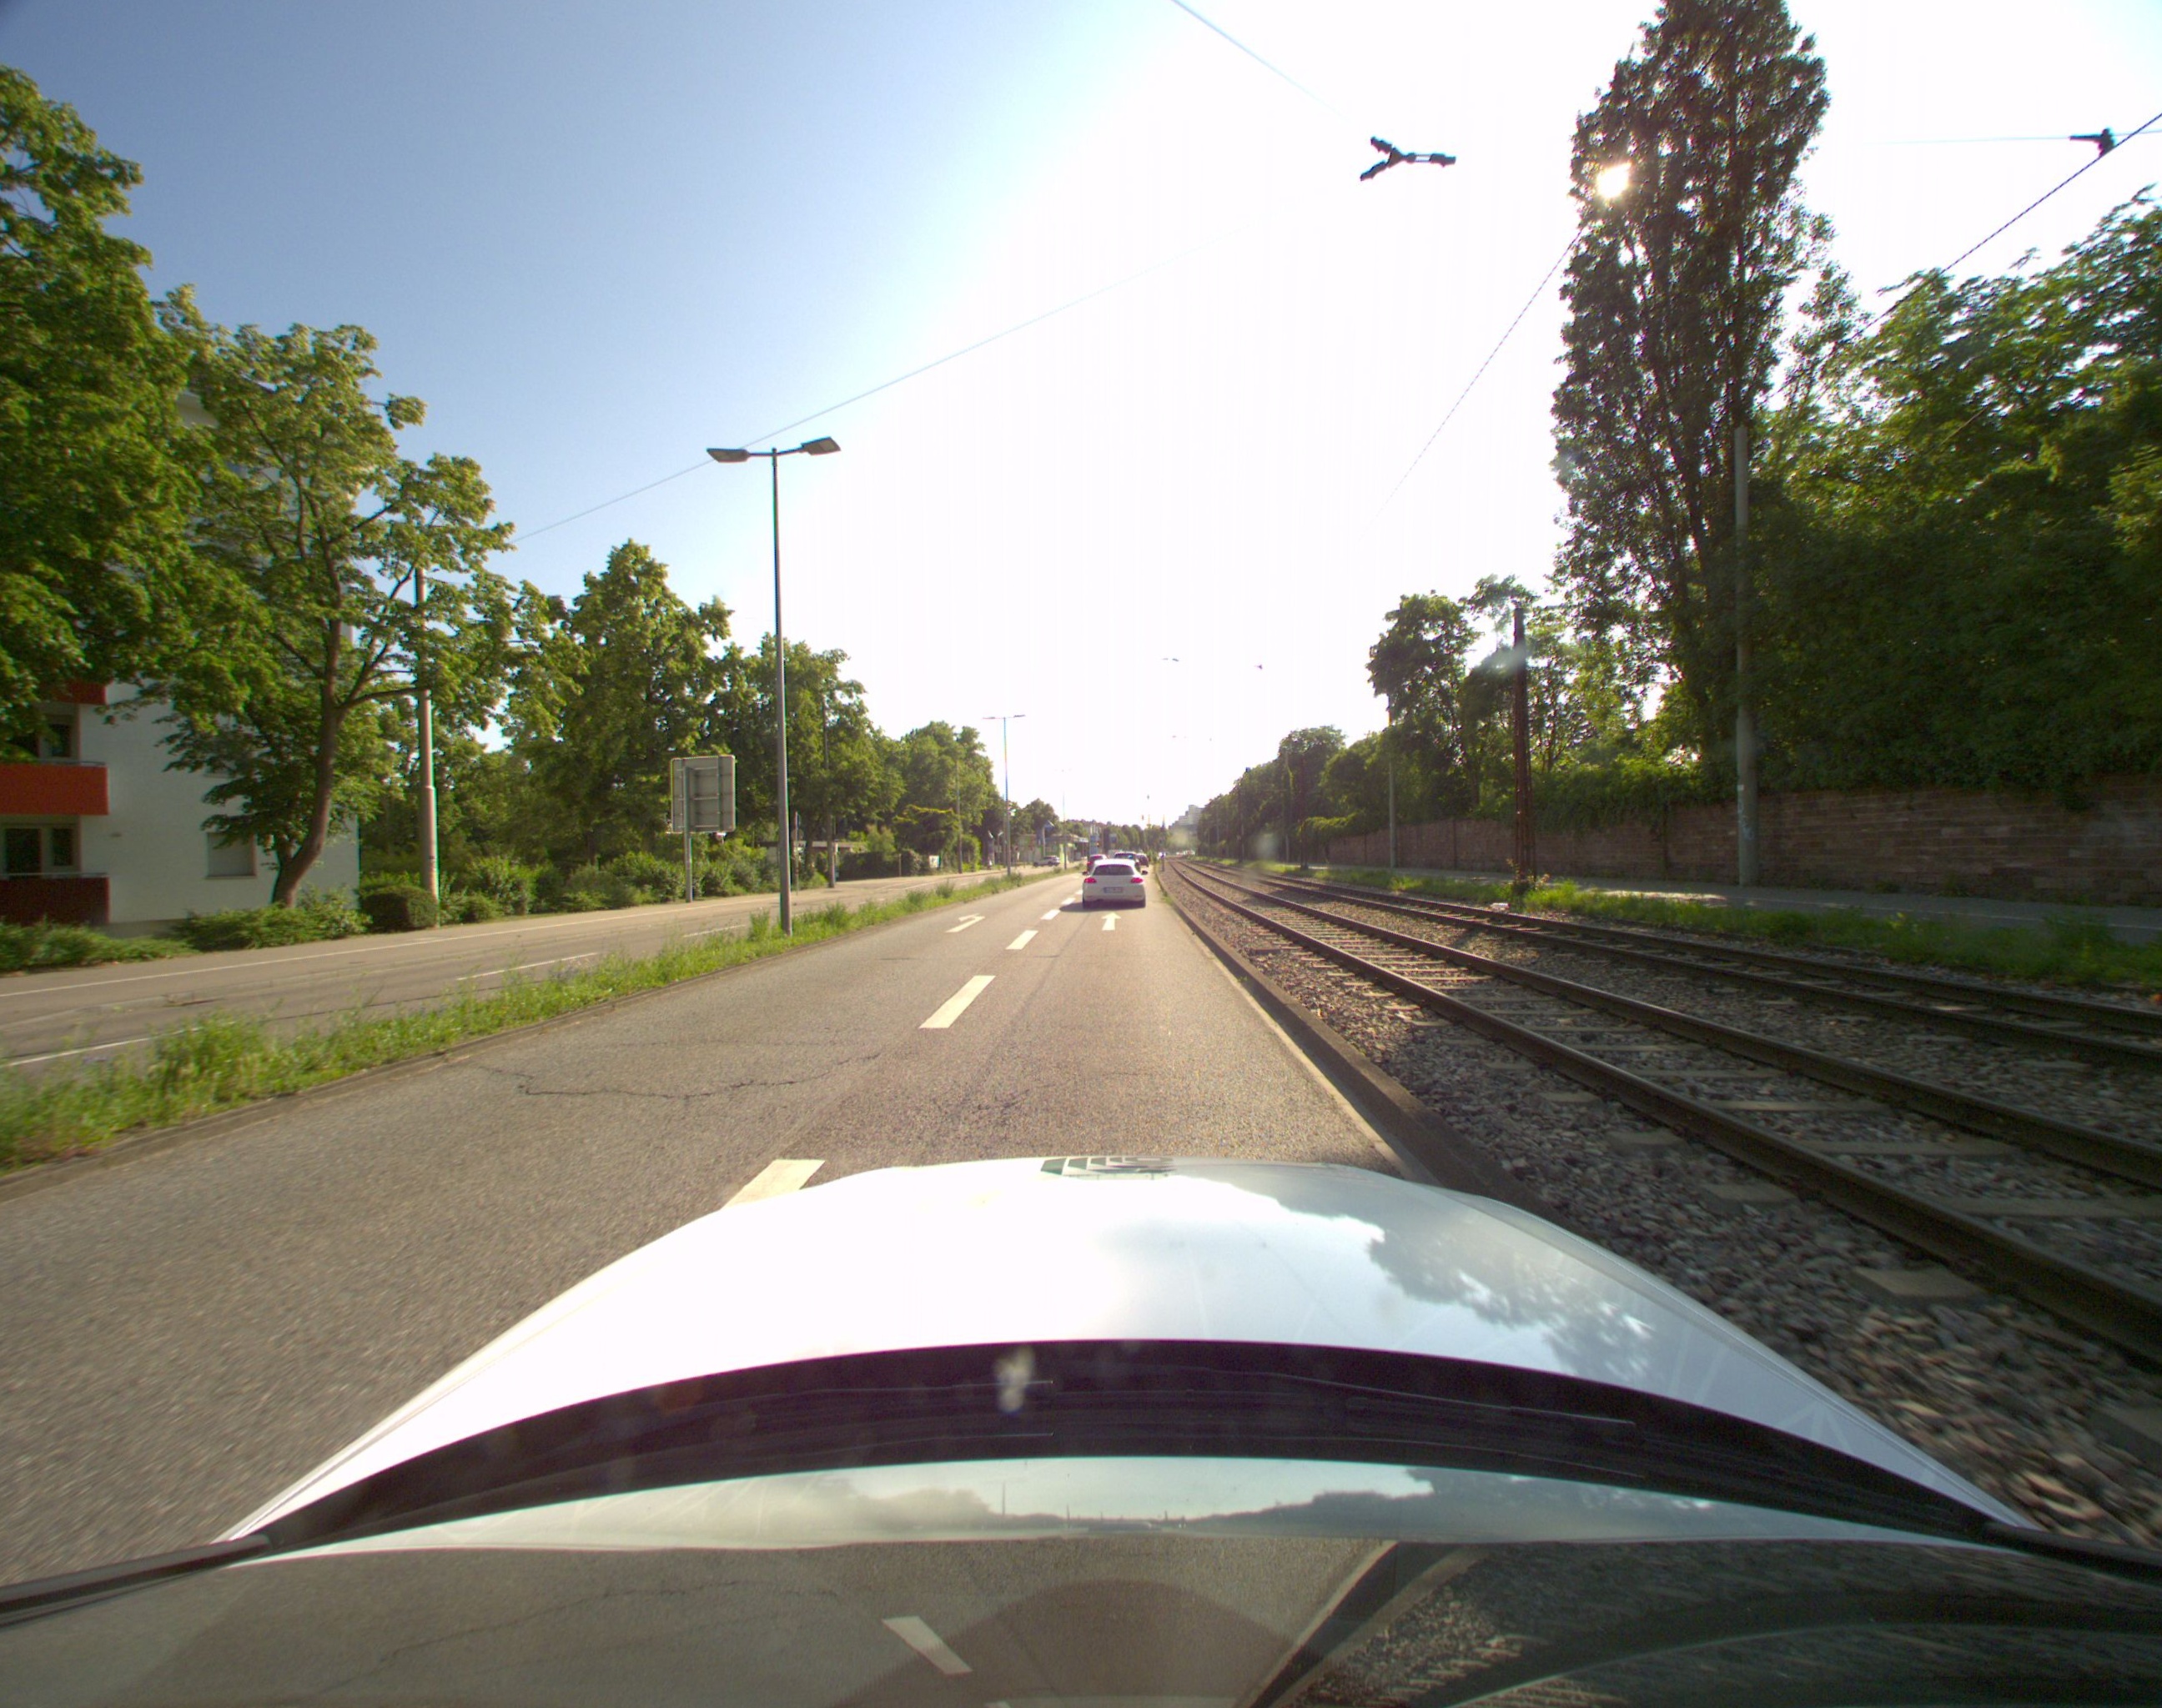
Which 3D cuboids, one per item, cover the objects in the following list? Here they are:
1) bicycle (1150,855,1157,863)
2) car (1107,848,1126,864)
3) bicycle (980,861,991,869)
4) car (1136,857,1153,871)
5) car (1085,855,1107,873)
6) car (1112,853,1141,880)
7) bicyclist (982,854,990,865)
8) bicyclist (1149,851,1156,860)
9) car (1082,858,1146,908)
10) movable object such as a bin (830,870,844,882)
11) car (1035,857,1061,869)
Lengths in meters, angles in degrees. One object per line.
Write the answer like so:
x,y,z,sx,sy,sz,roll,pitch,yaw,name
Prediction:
11.605,0.783,130.492,0.638,1.154,1.946,-2,0,20,bicycle
4.509,0.322,103.594,1.814,1.963,4.396,-2,-1,-4,car
-11.913,1.381,101.881,0.658,1.049,2.587,-2,0,9,bicycle
6.919,1.058,88.723,1.742,1.486,3.603,0,0,2,car
1.326,0.826,70.623,1.753,1.486,4.647,0,0,2,car
2.748,0.747,50.021,1.718,1.593,3.603,0,0,2,car
-11.924,0.684,101.959,0.658,1.452,1.053,-2,-1,9,bicyclist
11.485,0.291,130.450,0.638,1.416,1.018,-7,-2,20,bicyclist
1.009,0.817,24.320,1.773,1.356,3.604,0,0,3,car
-19.572,1.744,65.424,0.812,0.931,0.854,-2,0,4,movable object such as a bin
-5.052,1.339,124.451,3.901,1.734,1.666,0,-1,36,car
